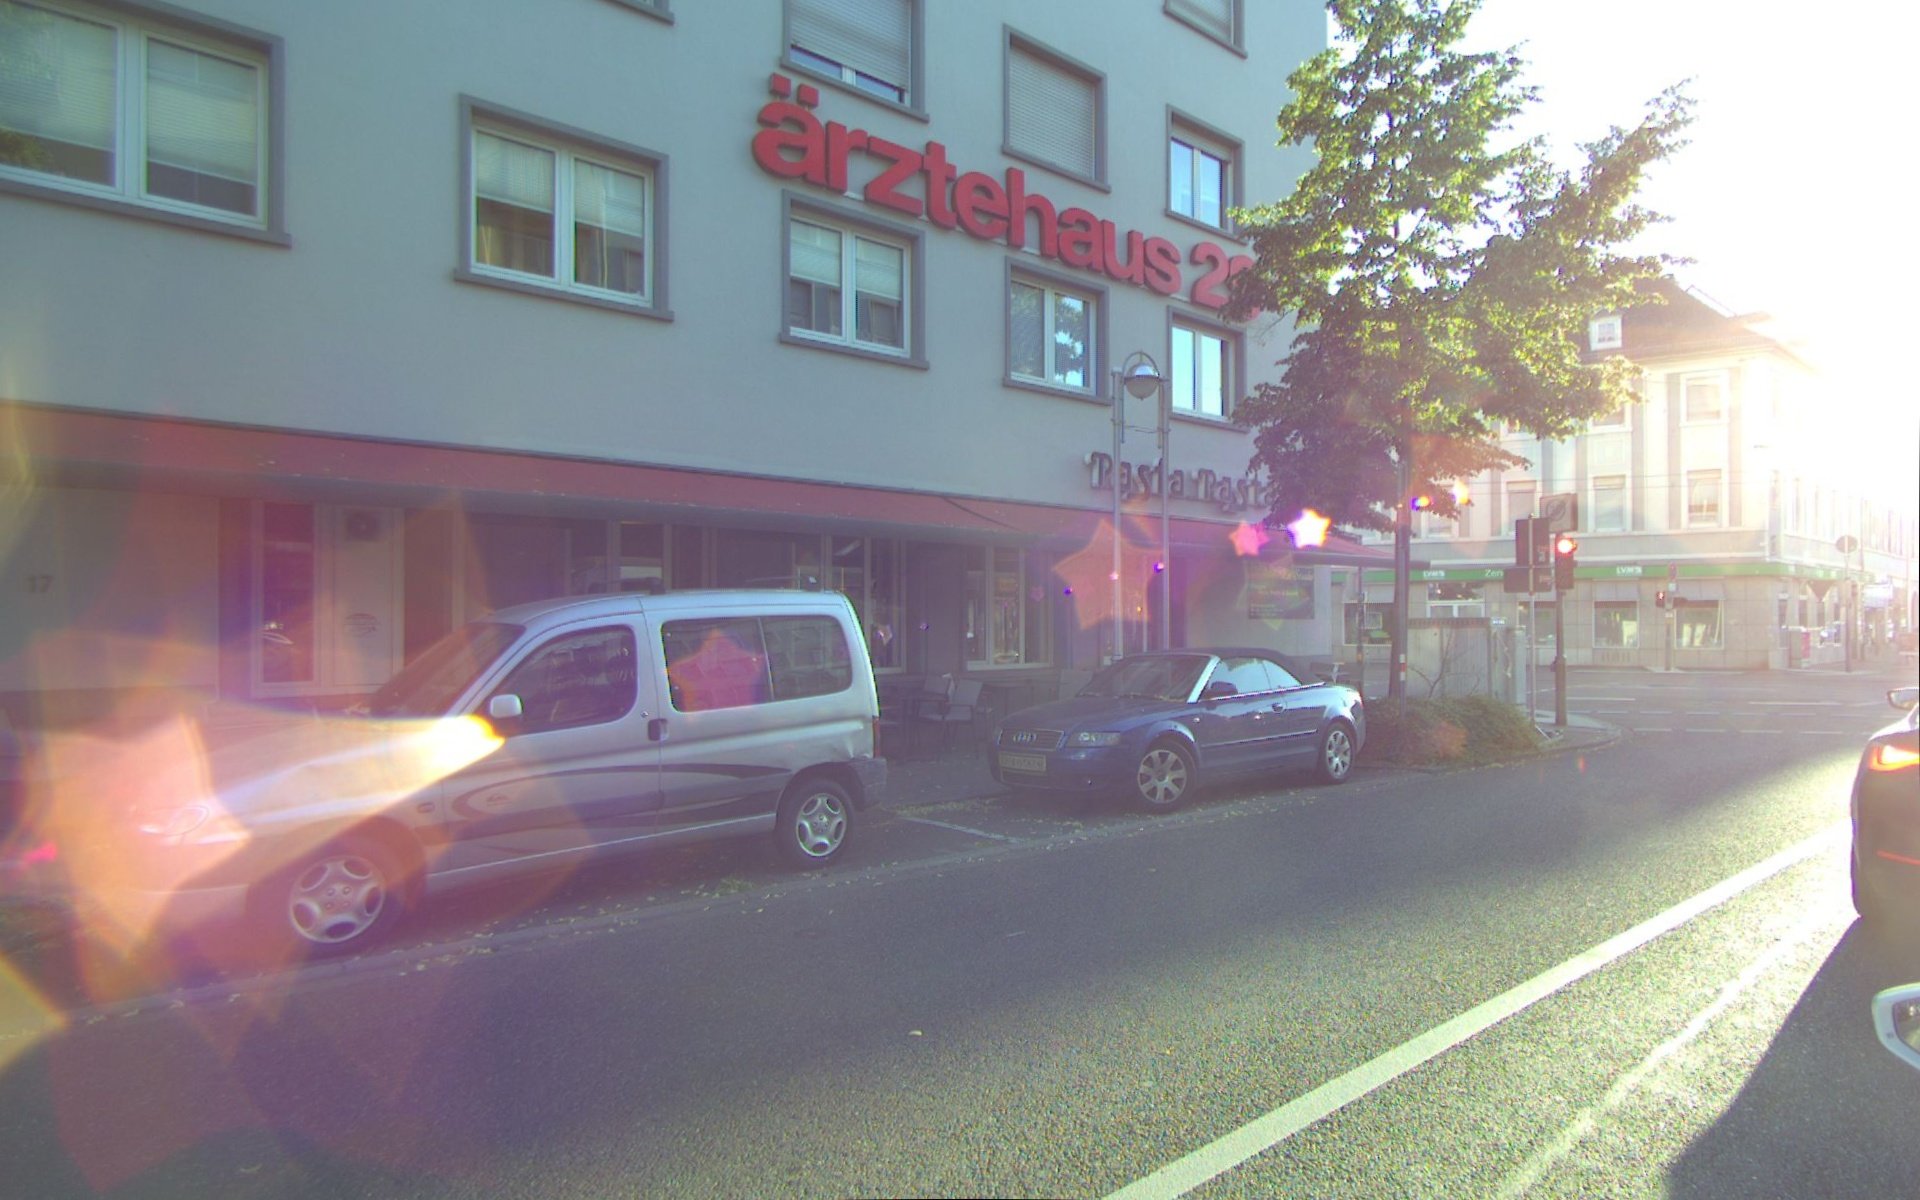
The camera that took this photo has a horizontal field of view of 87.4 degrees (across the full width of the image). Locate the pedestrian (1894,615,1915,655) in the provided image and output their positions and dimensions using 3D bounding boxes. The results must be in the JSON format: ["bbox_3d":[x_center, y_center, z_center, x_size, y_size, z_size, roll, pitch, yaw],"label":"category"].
[{"bbox_3d":[45.980,1.713,48.912,0.626,1.901,0.638,1,0,-38],"label":"pedestrian"}]

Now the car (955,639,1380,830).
[{"bbox_3d":[2.141,1.126,9.717,4.244,1.434,1.710,1,-4,-39],"label":"car"}]

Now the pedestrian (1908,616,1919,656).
[{"bbox_3d":[45.982,1.712,48.144,0.612,1.901,0.671,1,0,-38],"label":"pedestrian"}]

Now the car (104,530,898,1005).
[{"bbox_3d":[-2.467,0.757,6.027,4.022,1.912,1.655,2,-4,-41],"label":"car"}]

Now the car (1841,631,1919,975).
[{"bbox_3d":[6.066,0.904,5.115,4.188,1.447,1.723,1,-1,-39],"label":"car"}]
